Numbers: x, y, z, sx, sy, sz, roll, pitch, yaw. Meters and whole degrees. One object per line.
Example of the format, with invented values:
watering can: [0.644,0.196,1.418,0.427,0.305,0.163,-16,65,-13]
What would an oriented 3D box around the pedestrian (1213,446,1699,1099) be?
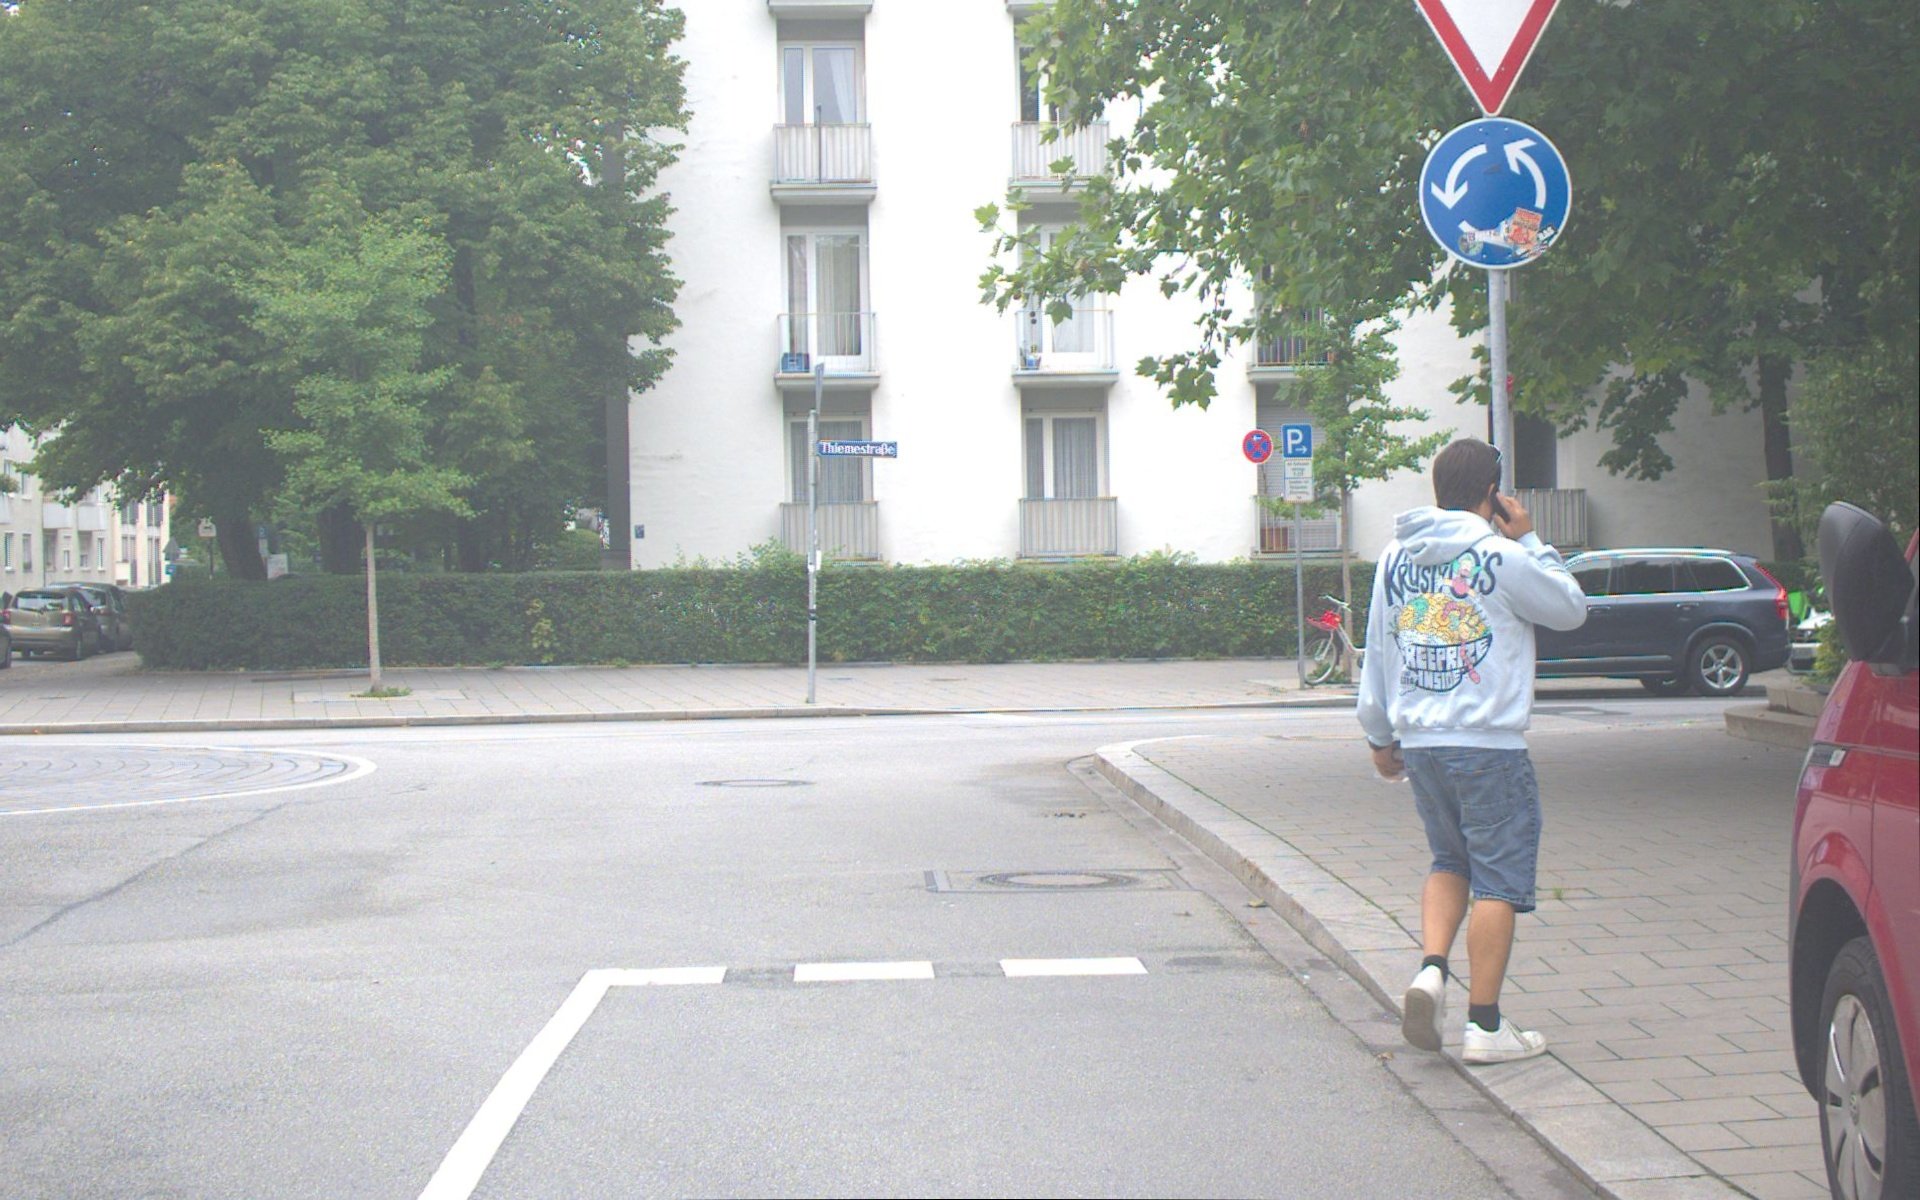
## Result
pedestrian: [1.433,0.458,9.954,1.049,1.765,0.876,-1,0,-35]

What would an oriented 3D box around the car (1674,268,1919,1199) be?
car: [2.627,0.393,5.254,1.873,1.914,4.888,0,1,-2]

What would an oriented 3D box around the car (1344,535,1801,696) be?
car: [7.175,0.176,40.501,4.896,1.786,2.000,-1,-1,-9]

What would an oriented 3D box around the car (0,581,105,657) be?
car: [-19.425,0.388,73.278,1.835,1.500,4.116,-2,1,-8]

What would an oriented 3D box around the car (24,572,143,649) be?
car: [-19.821,0.219,77.875,1.835,1.629,4.116,-2,1,-4]

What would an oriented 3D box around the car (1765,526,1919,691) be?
car: [12.381,0.084,41.465,4.831,1.912,1.836,-1,-1,-10]

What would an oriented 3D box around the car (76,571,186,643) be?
car: [-20.114,0.154,83.536,1.835,1.629,3.820,-2,1,-2]

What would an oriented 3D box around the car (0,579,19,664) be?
car: [-18.188,0.406,62.226,1.793,1.500,4.116,-2,1,-10]

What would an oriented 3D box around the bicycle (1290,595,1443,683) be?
bicycle: [5.053,0.480,42.768,1.824,1.045,0.492,-1,1,-15]

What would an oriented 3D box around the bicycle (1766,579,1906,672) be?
bicycle: [11.063,0.310,43.466,0.536,1.145,1.830,-1,1,-32]
